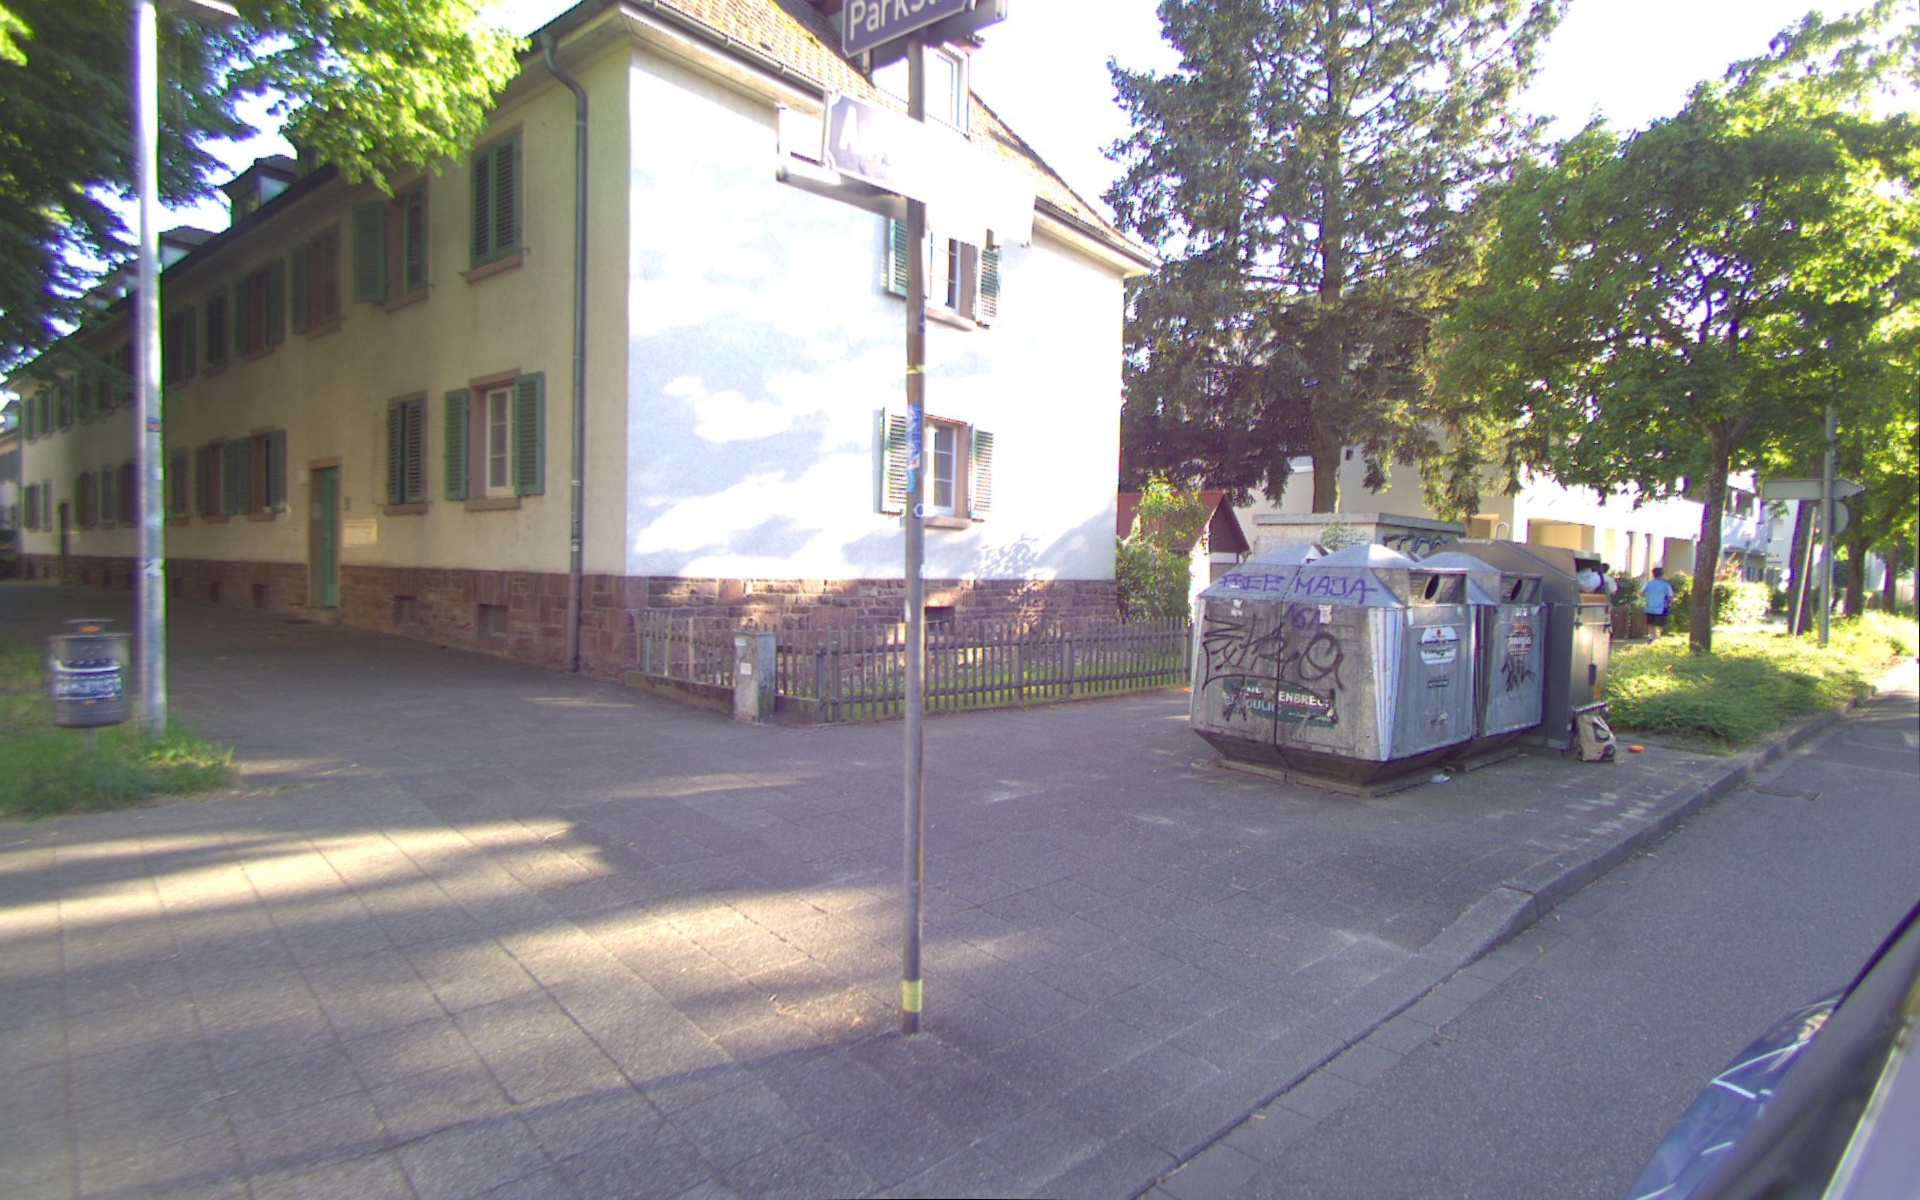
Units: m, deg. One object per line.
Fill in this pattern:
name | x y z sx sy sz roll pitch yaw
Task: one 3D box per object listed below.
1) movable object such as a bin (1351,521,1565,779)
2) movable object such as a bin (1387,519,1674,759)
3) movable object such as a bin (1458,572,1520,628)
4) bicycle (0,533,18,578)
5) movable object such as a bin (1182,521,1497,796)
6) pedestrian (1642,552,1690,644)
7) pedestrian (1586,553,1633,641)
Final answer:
movable object such as a bin | 4.016 0.338 8.152 1.363 1.850 1.148 -1 1 -43
movable object such as a bin | 5.074 0.276 9.065 1.370 1.876 1.923 -1 1 -43
movable object such as a bin | 14.414 -0.015 27.569 1.344 1.444 1.080 -1 4 -44
bicycle | -31.050 -1.425 32.306 1.985 1.416 0.795 2 2 27
movable object such as a bin | 2.734 0.331 7.300 1.613 1.678 1.588 -1 1 -43
pedestrian | 15.155 -0.058 21.717 0.880 1.917 0.673 -1 1 -43
pedestrian | 14.538 -0.078 22.659 1.001 1.917 0.643 -1 1 -43
